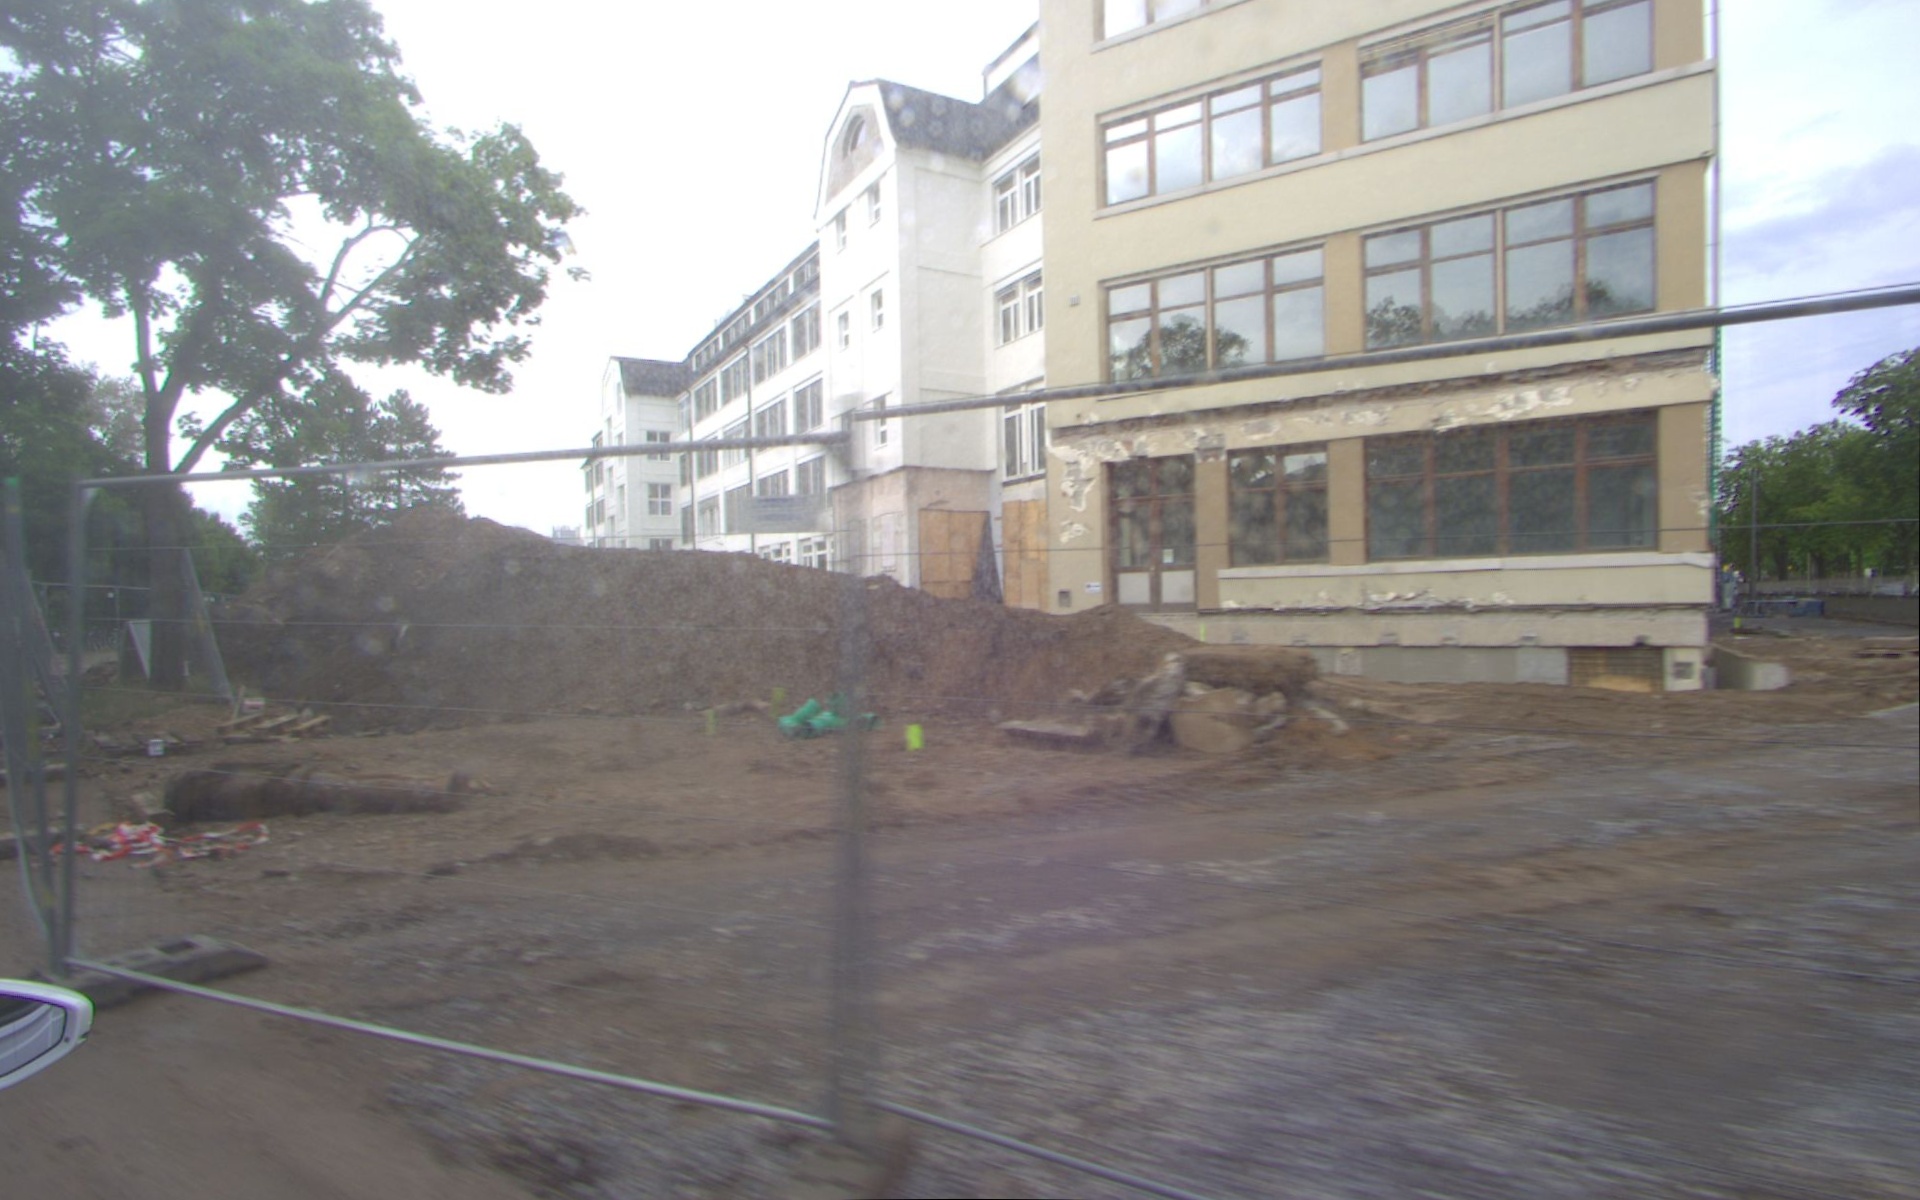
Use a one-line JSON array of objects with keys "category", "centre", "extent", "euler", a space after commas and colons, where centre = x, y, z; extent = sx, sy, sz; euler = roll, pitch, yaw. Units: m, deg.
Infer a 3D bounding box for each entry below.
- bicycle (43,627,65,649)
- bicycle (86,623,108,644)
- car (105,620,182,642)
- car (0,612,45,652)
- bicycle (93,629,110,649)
[{"category": "bicycle", "centre": [-42.638, 1.777, 47.122], "extent": [0.765, 0.991, 2.013], "euler": [-1, 0, -42]}, {"category": "bicycle", "centre": [-41.558, 1.598, 48.204], "extent": [0.765, 0.991, 2.013], "euler": [-1, 0, -42]}, {"category": "car", "centre": [-59.940, 2.244, 73.570], "extent": [1.969, 1.528, 3.983], "euler": [-1, 0, 28]}, {"category": "car", "centre": [-37.923, 1.234, 38.500], "extent": [3.656, 1.520, 1.859], "euler": [0, 0, -29]}, {"category": "bicycle", "centre": [-45.090, 2.017, 52.589], "extent": [0.584, 0.991, 2.013], "euler": [-1, 0, -42]}]
